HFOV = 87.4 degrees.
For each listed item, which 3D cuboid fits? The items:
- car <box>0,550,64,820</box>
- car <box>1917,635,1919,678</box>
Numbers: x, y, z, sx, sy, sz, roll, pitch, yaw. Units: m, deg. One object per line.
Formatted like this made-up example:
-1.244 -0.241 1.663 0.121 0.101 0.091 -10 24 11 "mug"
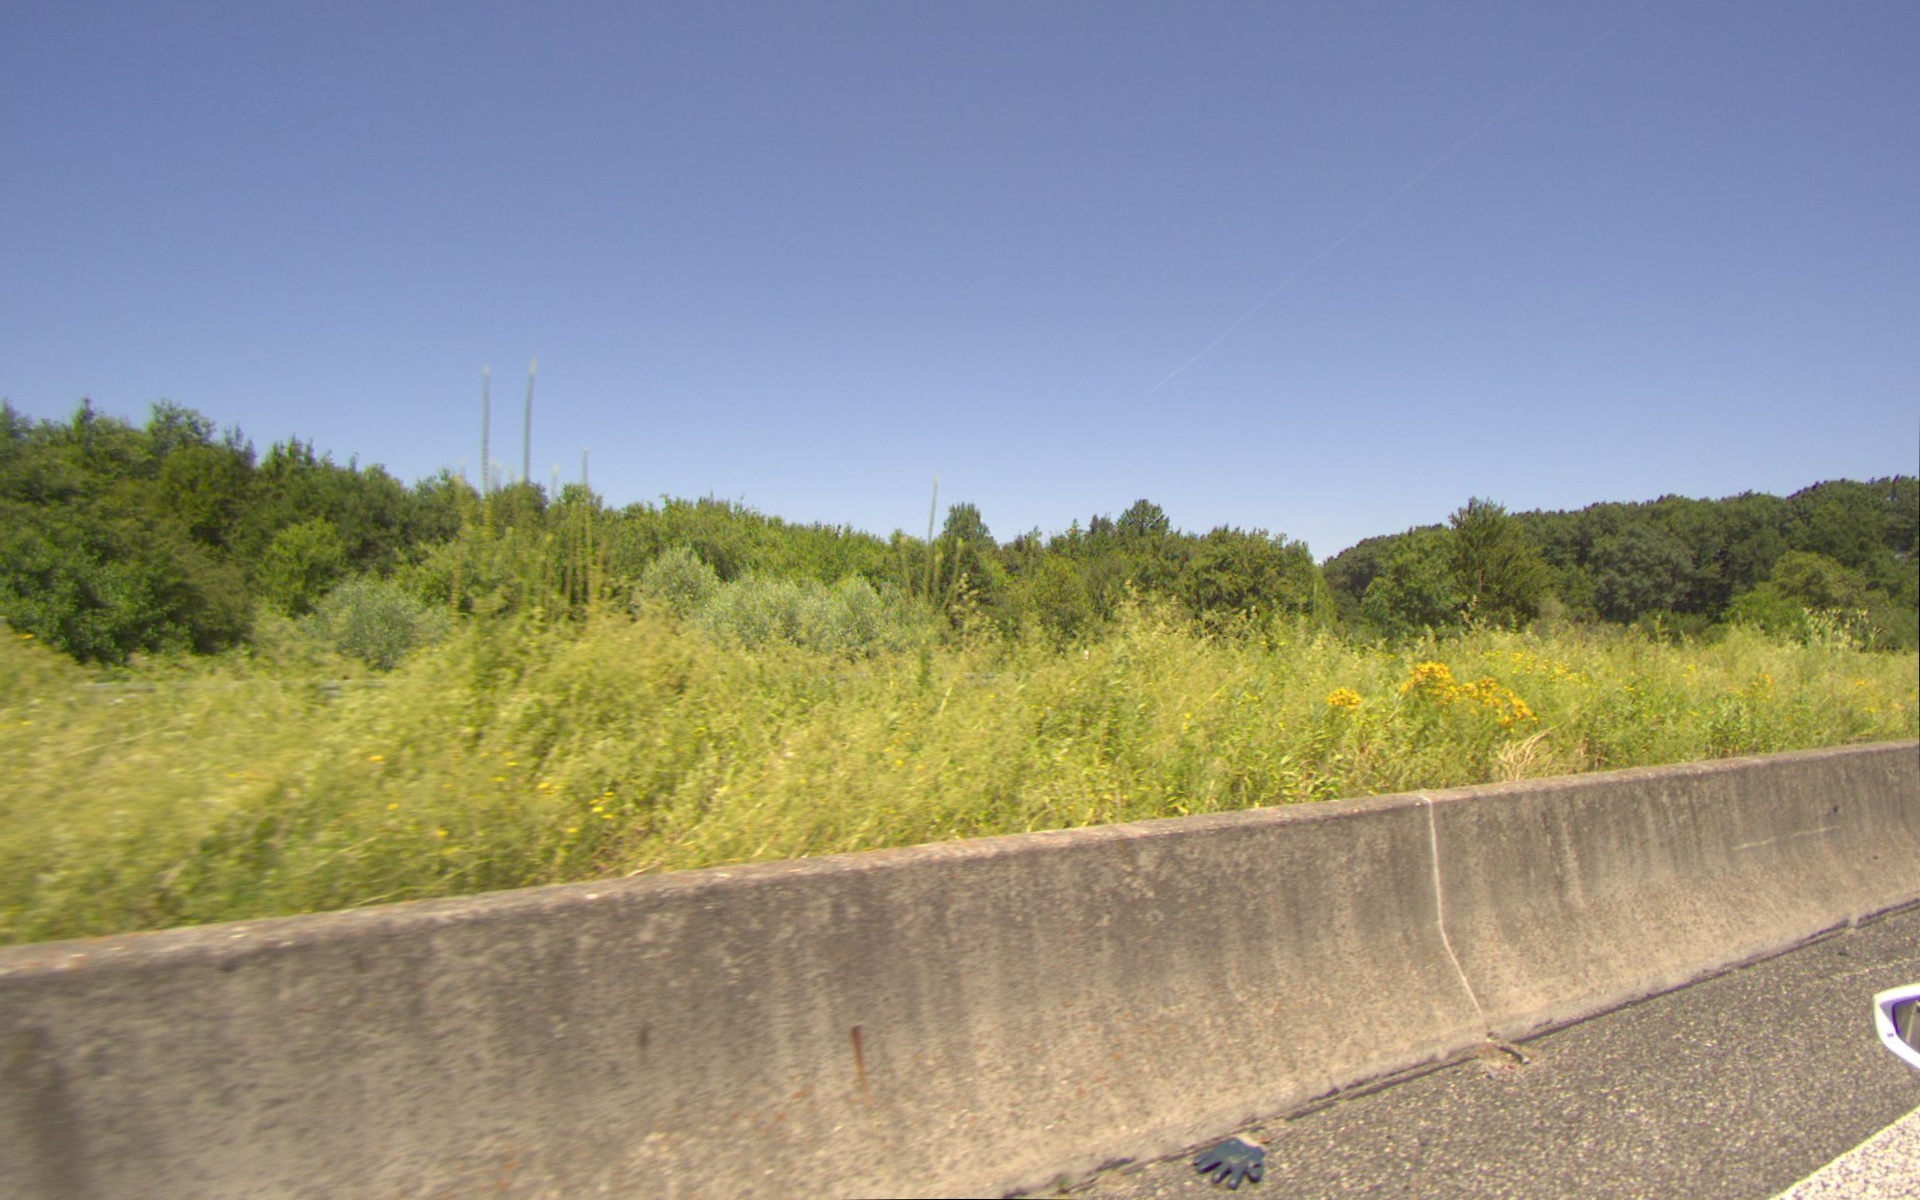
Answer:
-8.536 0.510 5.500 5.057 1.743 1.984 1 -1 -30 "car"
47.623 2.709 47.659 5.016 2.040 1.873 2 -1 -31 "car"
